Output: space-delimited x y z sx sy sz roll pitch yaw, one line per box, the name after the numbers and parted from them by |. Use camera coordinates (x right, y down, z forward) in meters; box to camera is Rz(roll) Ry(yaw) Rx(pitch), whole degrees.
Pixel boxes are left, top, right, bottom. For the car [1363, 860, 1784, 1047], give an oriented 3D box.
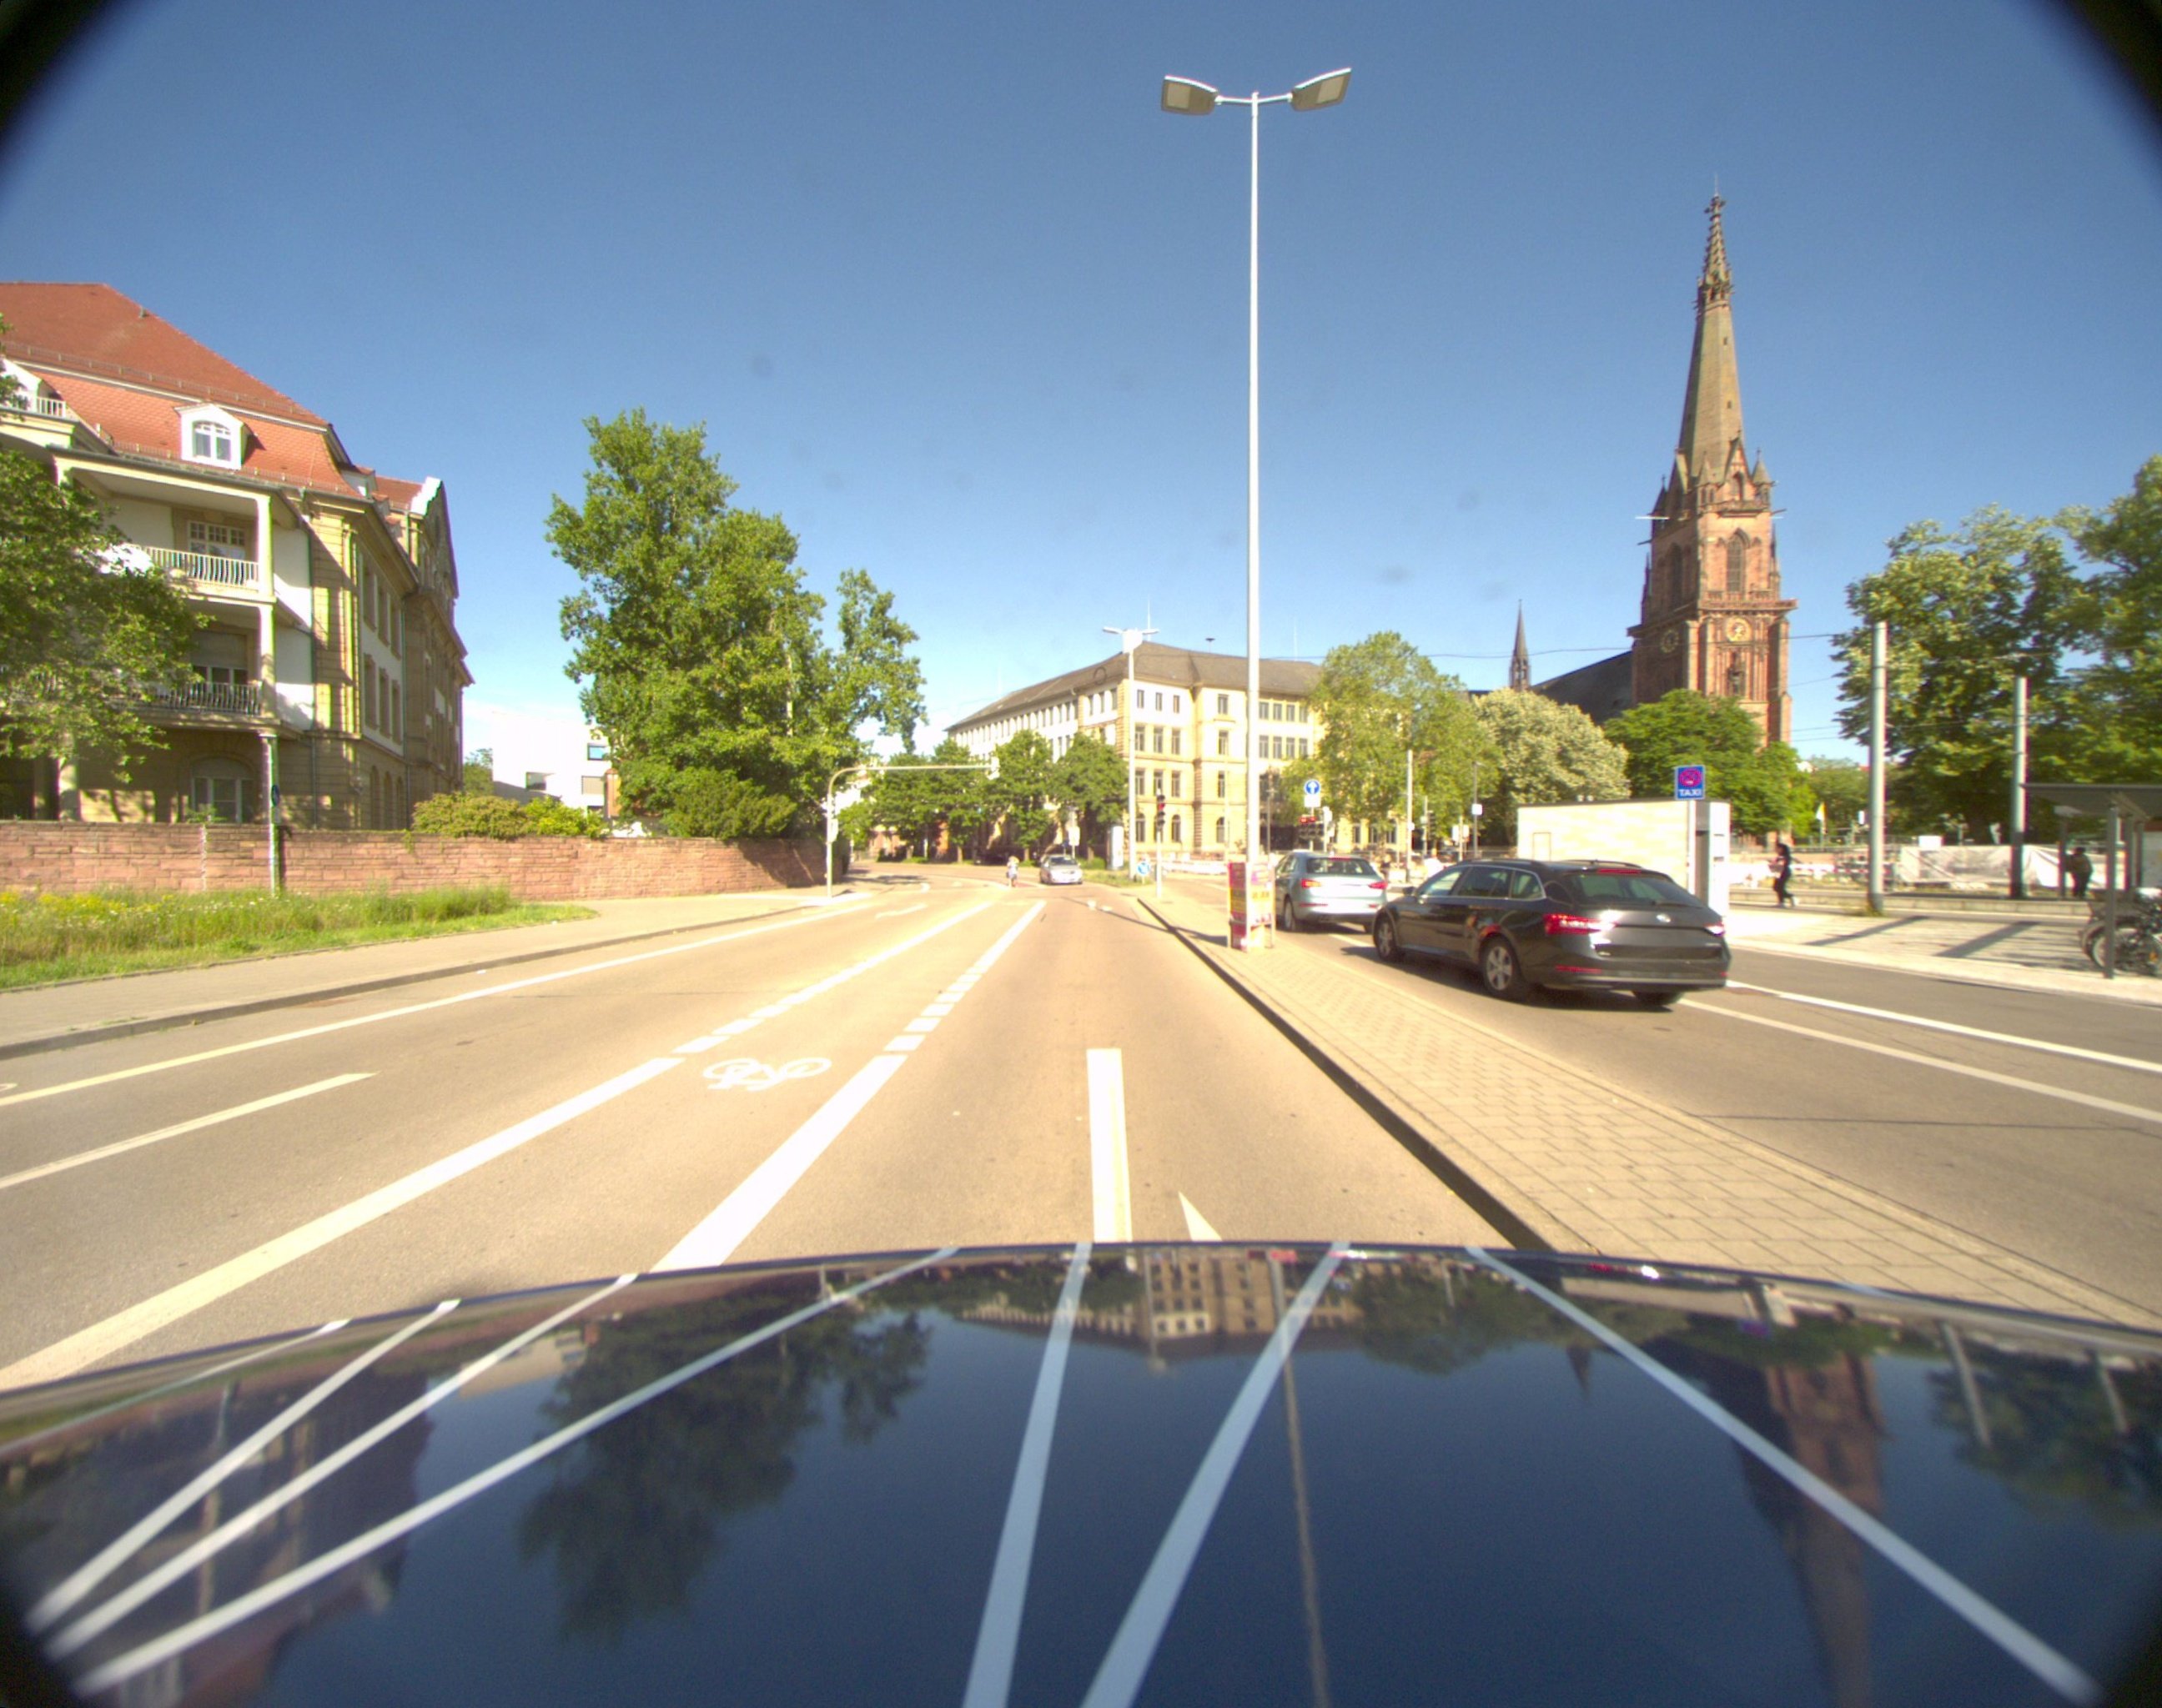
5.060 0.874 8.782 1.793 1.490 4.574 1 1 -1 | car

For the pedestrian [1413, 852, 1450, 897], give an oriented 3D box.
14.234 0.821 30.920 0.977 1.769 1.131 0 1 -1 | pedestrian

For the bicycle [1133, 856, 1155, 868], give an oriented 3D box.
5.342 0.686 64.435 1.830 0.985 0.735 0 1 44 | bicycle

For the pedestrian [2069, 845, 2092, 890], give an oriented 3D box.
37.571 0.501 28.572 0.404 1.711 0.419 1 1 38 | pedestrian

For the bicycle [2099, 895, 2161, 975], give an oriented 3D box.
15.200 1.137 10.275 0.458 1.055 1.667 -1 1 -33 | bicycle

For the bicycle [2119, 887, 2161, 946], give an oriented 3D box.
19.127 1.100 12.943 0.458 1.003 1.667 -1 1 -33 | bicycle

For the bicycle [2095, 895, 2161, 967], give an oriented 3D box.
16.072 1.144 10.971 0.458 1.003 1.667 -1 1 -33 | bicycle

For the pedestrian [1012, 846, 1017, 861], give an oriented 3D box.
-8.112 -0.031 92.340 0.522 1.865 0.360 -1 1 -33 | pedestrian

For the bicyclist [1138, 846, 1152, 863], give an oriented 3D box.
5.425 0.027 64.299 0.893 1.377 0.735 1 1 44 | bicyclist

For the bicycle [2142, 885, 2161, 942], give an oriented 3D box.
19.894 1.076 13.194 0.458 1.003 1.667 -1 1 -33 | bicycle

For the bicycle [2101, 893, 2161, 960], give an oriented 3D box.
17.259 1.148 11.649 0.458 1.003 1.899 -1 1 -33 | bicycle

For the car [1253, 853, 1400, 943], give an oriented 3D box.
4.872 0.788 15.746 1.859 1.533 4.241 1 1 3 | car

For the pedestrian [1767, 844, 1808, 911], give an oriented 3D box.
18.776 0.604 20.193 0.760 1.757 0.661 1 1 43 | pedestrian

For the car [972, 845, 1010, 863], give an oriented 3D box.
-10.728 -0.033 90.756 1.994 2.002 4.721 0 1 32 | car

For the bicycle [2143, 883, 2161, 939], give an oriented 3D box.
20.487 1.064 13.605 0.458 1.003 1.667 -1 1 -33 | bicycle

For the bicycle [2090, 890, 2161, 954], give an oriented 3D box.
17.913 1.128 12.423 0.458 1.003 1.667 -1 1 -33 | bicycle

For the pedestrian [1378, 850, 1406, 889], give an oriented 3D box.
14.640 0.722 35.765 0.977 1.769 0.803 0 1 -1 | pedestrian

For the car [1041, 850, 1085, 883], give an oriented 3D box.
-1.024 0.645 41.058 1.707 1.657 3.910 -1 1 -11 | car

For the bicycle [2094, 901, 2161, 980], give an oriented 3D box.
14.699 1.172 9.960 0.458 1.003 1.667 -1 1 -33 | bicycle

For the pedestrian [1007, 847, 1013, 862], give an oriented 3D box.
-8.592 0.035 91.923 0.522 1.882 0.360 -1 1 -33 | pedestrian

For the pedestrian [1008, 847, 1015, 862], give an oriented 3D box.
-8.441 0.082 92.060 0.677 1.715 0.588 -1 4 -22 | pedestrian

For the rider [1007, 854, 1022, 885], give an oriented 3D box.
-3.470 0.811 39.692 0.658 1.610 0.989 -1 1 1 | rider
